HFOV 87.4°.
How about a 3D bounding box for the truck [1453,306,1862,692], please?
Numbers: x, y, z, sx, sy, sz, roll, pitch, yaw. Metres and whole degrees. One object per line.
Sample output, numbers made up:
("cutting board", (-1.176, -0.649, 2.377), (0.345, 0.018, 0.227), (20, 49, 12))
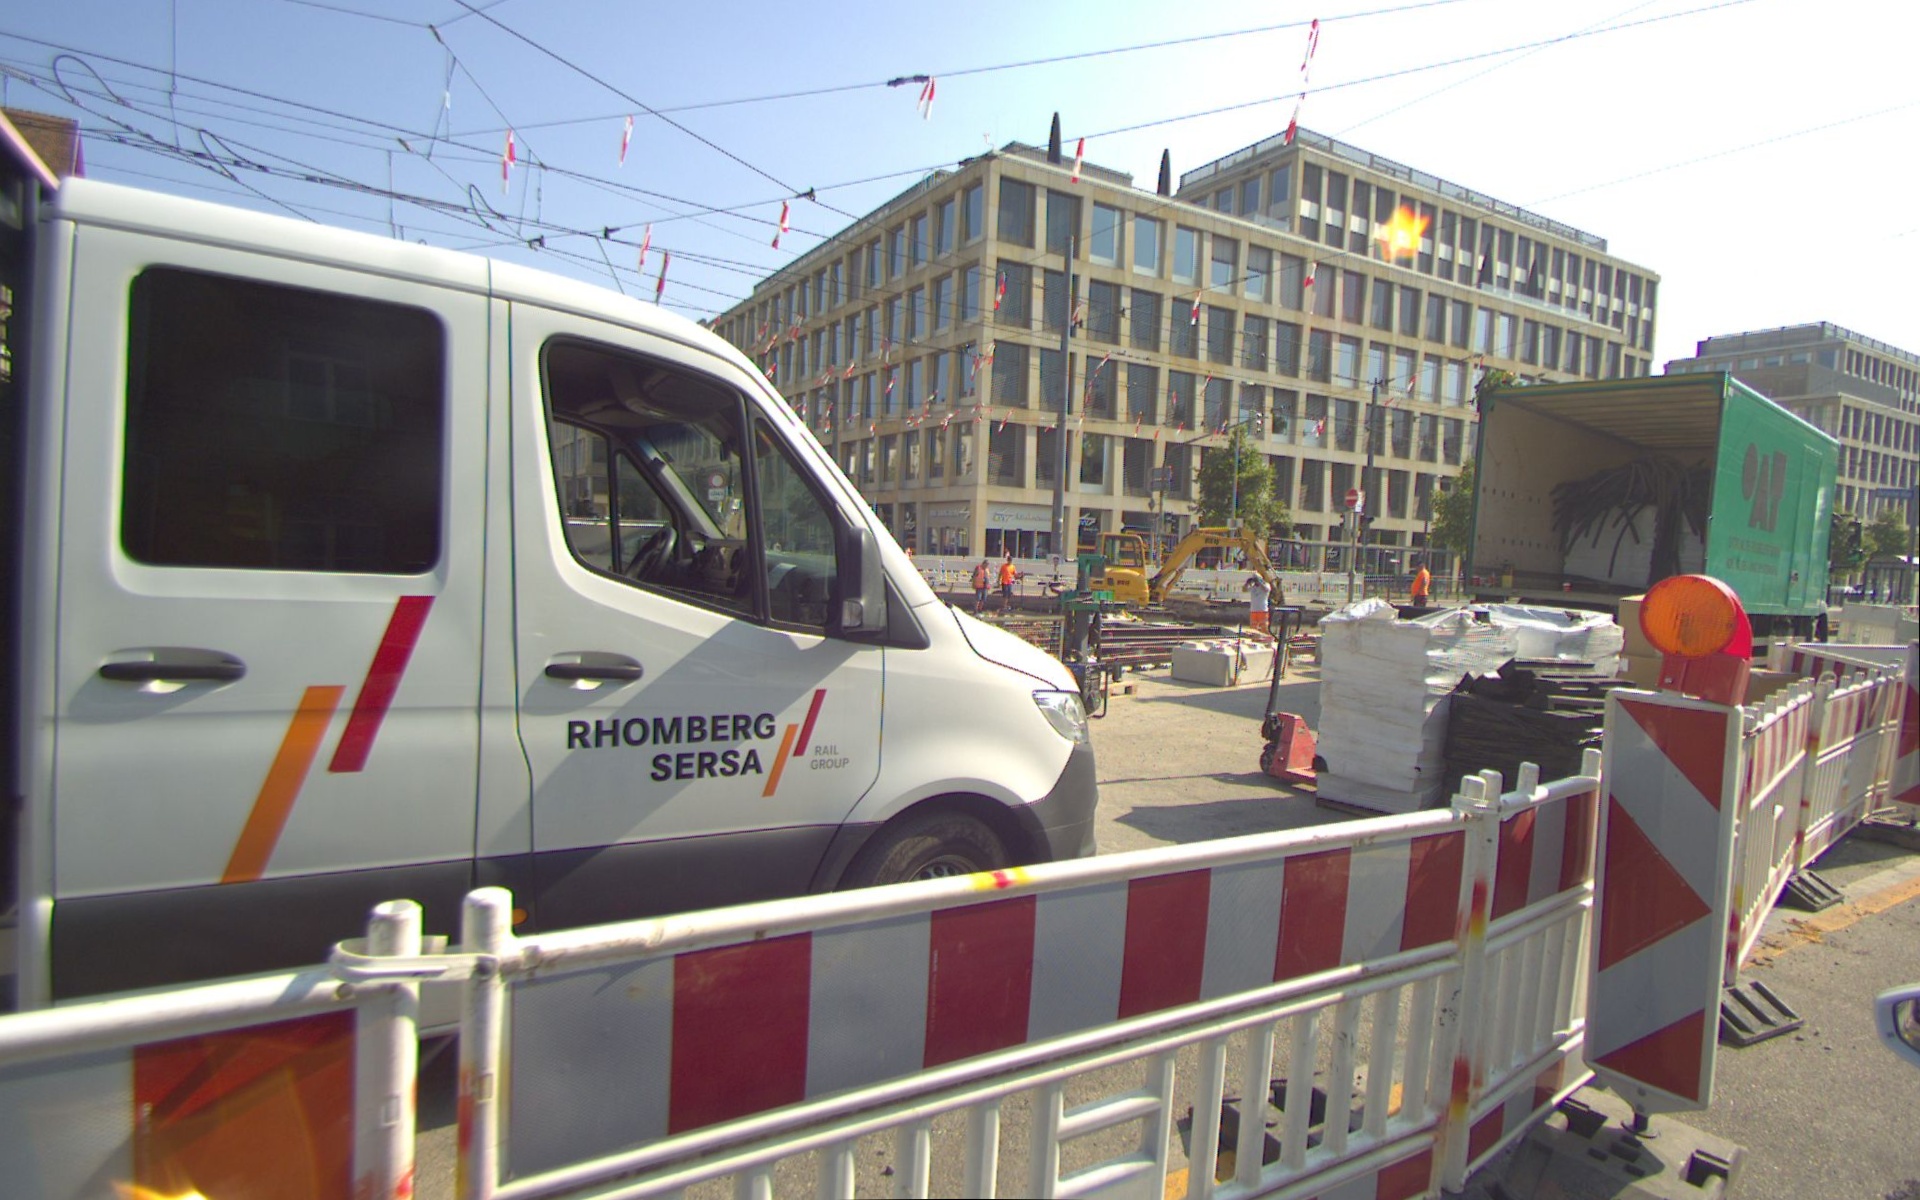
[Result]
("truck", (10.237, -1.227, 14.249), (8.357, 3.966, 2.765), (-2, 7, -43))

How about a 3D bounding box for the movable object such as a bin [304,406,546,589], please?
("movable object such as a bin", (-15.401, -2.861, 29.838), (4.891, 4.405, 7.352), (3, 3, -17))

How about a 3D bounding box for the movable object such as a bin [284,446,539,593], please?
("movable object such as a bin", (-11.950, -1.761, 21.932), (4.723, 2.873, 2.448), (4, 4, 22))

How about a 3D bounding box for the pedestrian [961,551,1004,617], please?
("pedestrian", (0.681, -0.489, 30.329), (0.804, 1.890, 0.915), (-1, 5, -41))

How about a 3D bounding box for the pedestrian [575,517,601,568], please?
("pedestrian", (-15.311, -2.379, 41.349), (0.813, 2.041, 0.668), (2, 4, -7))

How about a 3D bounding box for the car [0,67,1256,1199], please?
("car", (-2.488, 0.151, 2.832), (7.123, 2.457, 2.194), (1, 4, -33))

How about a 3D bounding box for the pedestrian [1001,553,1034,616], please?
("pedestrian", (1.796, -0.495, 31.325), (0.795, 1.890, 0.754), (2, 4, -8))

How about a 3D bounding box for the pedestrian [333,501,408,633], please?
("pedestrian", (-8.968, -0.504, 15.302), (0.775, 1.938, 0.721), (2, 3, -13))

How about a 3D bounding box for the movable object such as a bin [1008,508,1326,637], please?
("movable object such as a bin", (5.890, -0.721, 28.156), (8.380, 2.997, 3.594), (2, 5, -31))
